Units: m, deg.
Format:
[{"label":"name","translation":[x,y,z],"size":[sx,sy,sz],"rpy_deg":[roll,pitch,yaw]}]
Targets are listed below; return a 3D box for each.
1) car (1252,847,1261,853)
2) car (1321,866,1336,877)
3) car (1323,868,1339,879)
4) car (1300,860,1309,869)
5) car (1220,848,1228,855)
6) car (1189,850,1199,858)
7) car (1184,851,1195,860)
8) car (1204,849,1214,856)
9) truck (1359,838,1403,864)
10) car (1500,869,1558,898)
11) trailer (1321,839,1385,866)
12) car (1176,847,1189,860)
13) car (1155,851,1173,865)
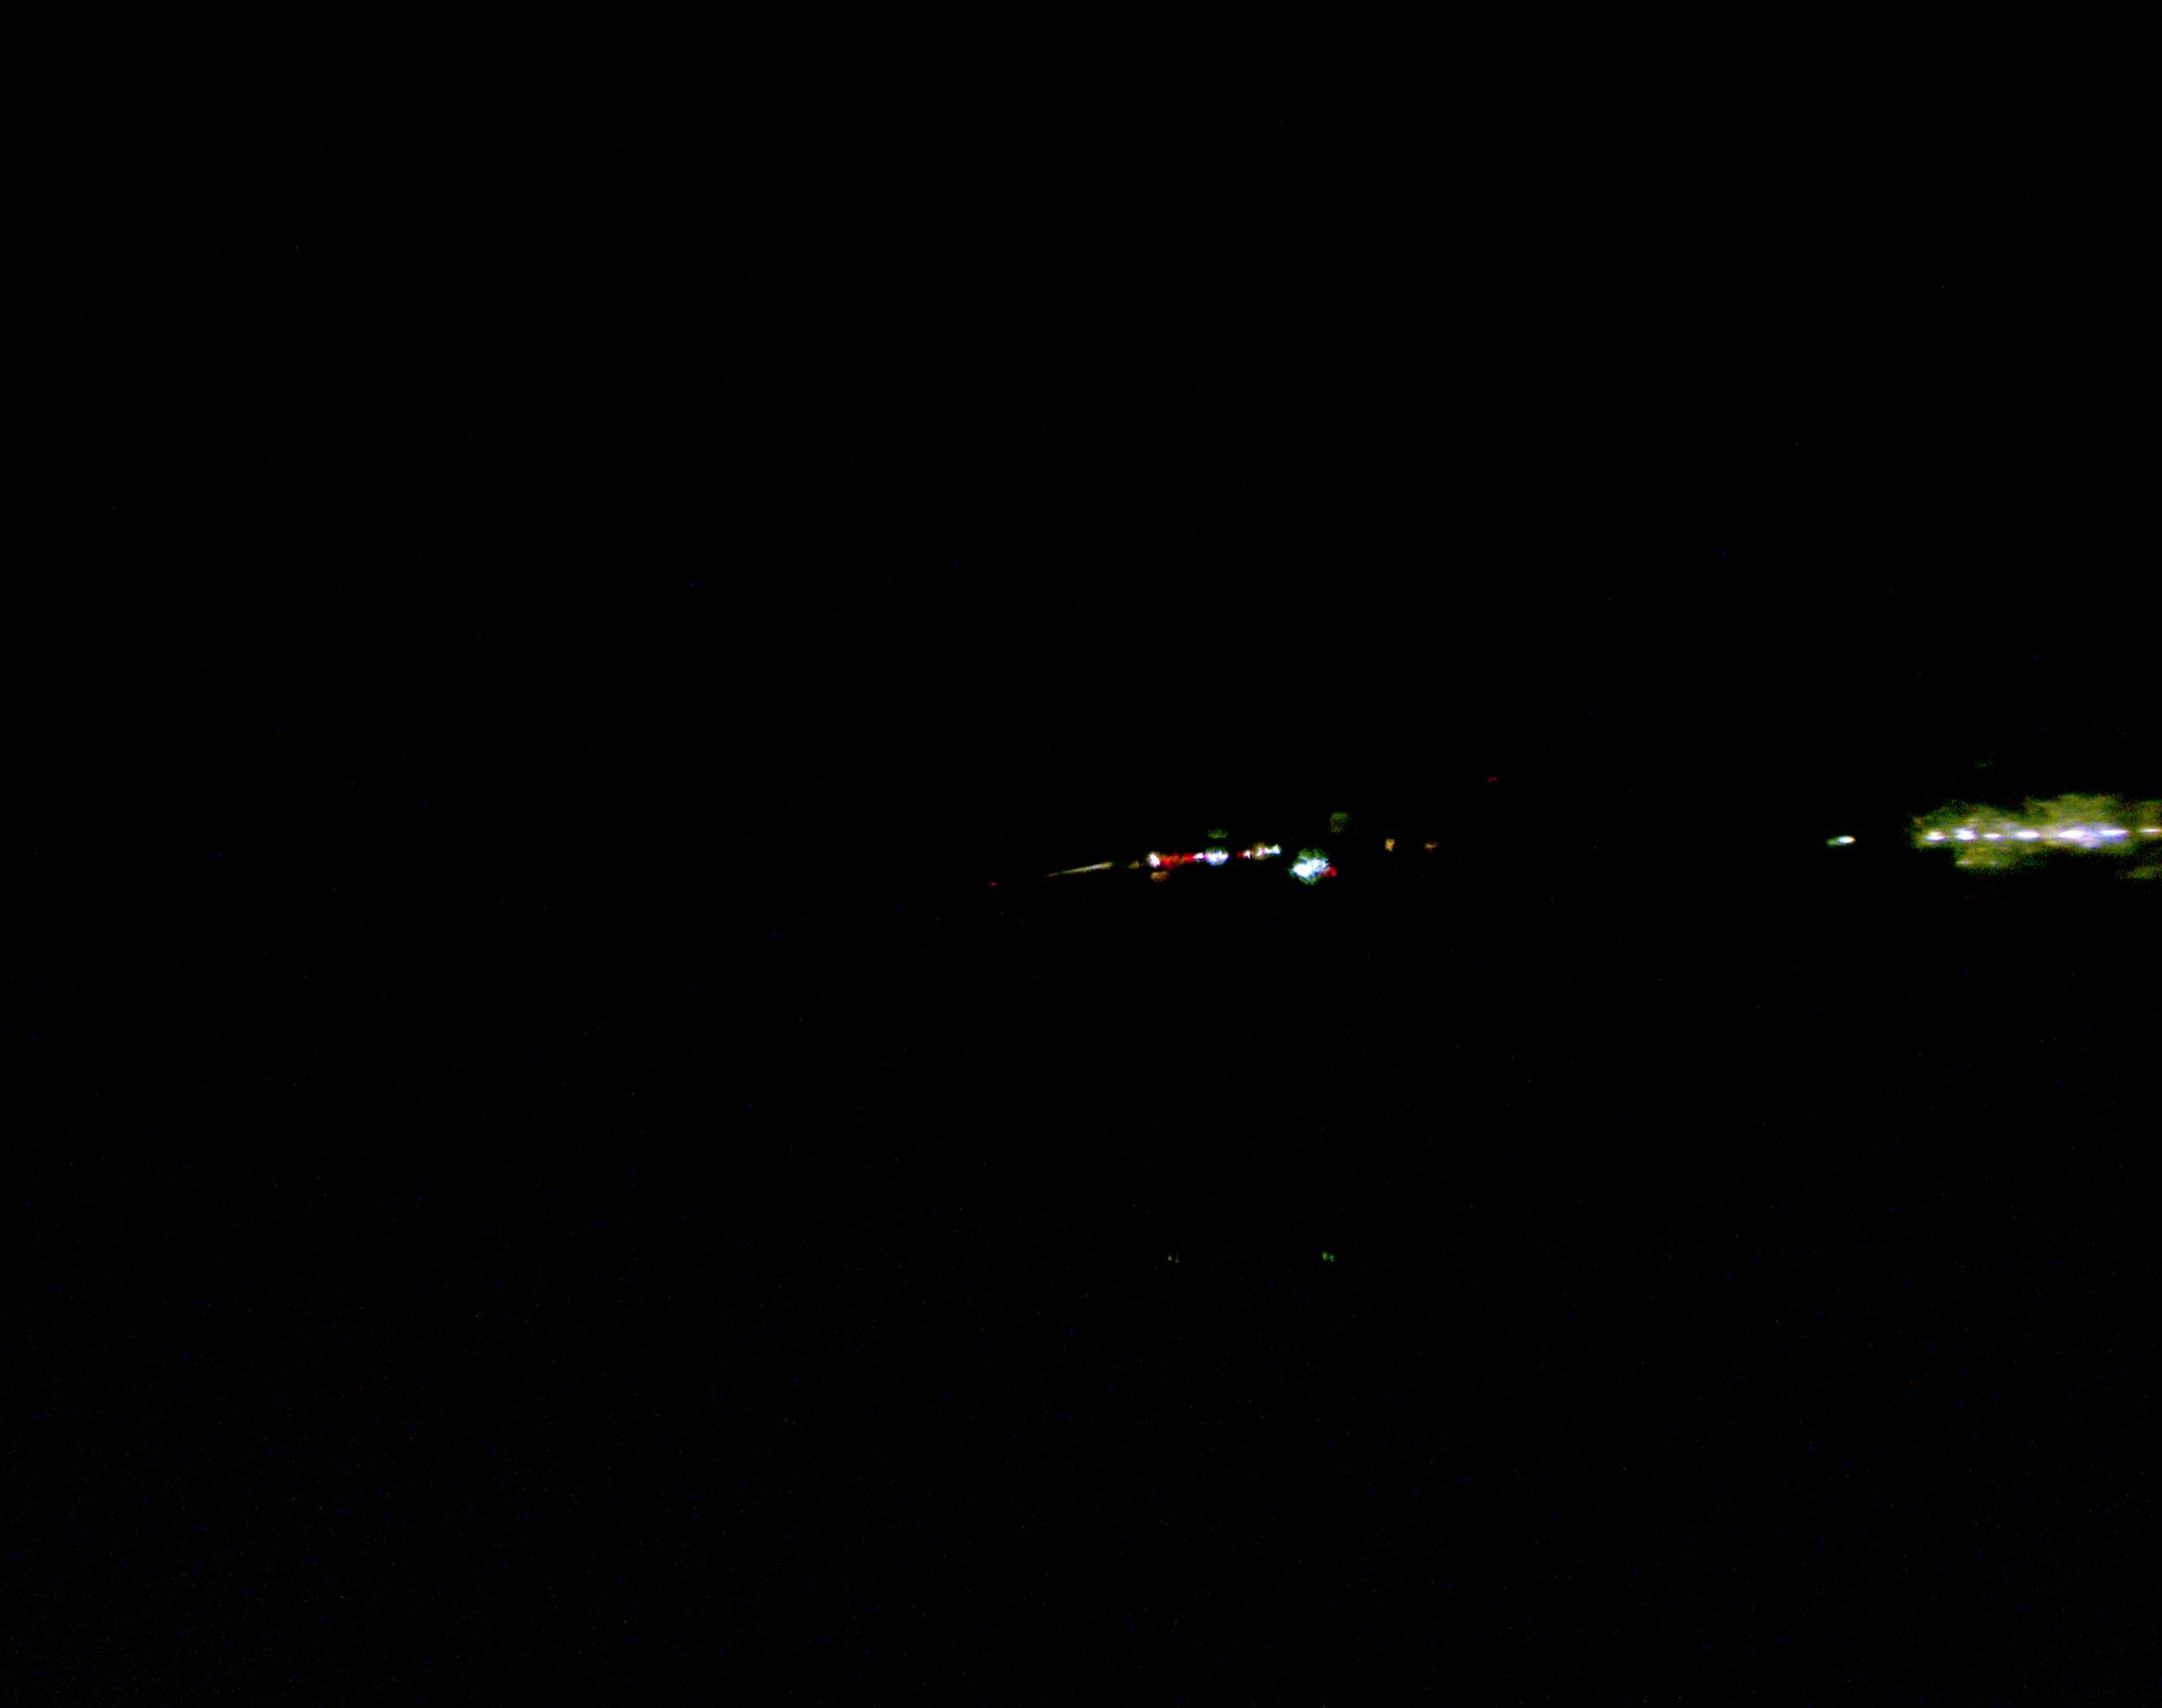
[{"label":"car","translation":[58.163,-1.311,251.534],"size":[1.995,1.795,4.602],"rpy_deg":[-2,1,23]},{"label":"car","translation":[43.118,3.082,132.406],"size":[1.811,1.666,4.295],"rpy_deg":[-2,1,9]},{"label":"car","translation":[40.330,3.161,122.648],"size":[1.811,1.561,4.295],"rpy_deg":[-2,1,11]},{"label":"car","translation":[48.374,2.262,164.294],"size":[1.810,1.666,4.297],"rpy_deg":[-2,1,17]},{"label":"car","translation":[38.083,-0.665,202.461],"size":[1.791,1.615,4.377],"rpy_deg":[-1,5,16]},{"label":"car","translation":[23.675,-0.022,158.865],"size":[1.690,1.671,3.471],"rpy_deg":[-2,1,14]},{"label":"car","translation":[20.423,0.247,143.331],"size":[1.802,1.511,4.538],"rpy_deg":[-1,1,11]},{"label":"car","translation":[29.685,-0.417,176.178],"size":[1.819,1.550,4.182],"rpy_deg":[-2,1,16]},{"label":"truck","translation":[58.985,-0.526,149.404],"size":[7.320,4.768,3.334],"rpy_deg":[-3,1,-12]},{"label":"car","translation":[34.107,2.212,57.961],"size":[1.998,2.002,3.999],"rpy_deg":[-2,1,0]},{"label":"trailer","translation":[53.117,-0.268,148.201],"size":[11.557,4.768,3.334],"rpy_deg":[-3,1,-12]},{"label":"car","translation":[17.196,-0.022,128.752],"size":[1.997,2.063,4.002],"rpy_deg":[-2,1,8]},{"label":"car","translation":[10.789,0.492,98.973],"size":[1.998,1.604,4.612],"rpy_deg":[-2,1,3]}]
